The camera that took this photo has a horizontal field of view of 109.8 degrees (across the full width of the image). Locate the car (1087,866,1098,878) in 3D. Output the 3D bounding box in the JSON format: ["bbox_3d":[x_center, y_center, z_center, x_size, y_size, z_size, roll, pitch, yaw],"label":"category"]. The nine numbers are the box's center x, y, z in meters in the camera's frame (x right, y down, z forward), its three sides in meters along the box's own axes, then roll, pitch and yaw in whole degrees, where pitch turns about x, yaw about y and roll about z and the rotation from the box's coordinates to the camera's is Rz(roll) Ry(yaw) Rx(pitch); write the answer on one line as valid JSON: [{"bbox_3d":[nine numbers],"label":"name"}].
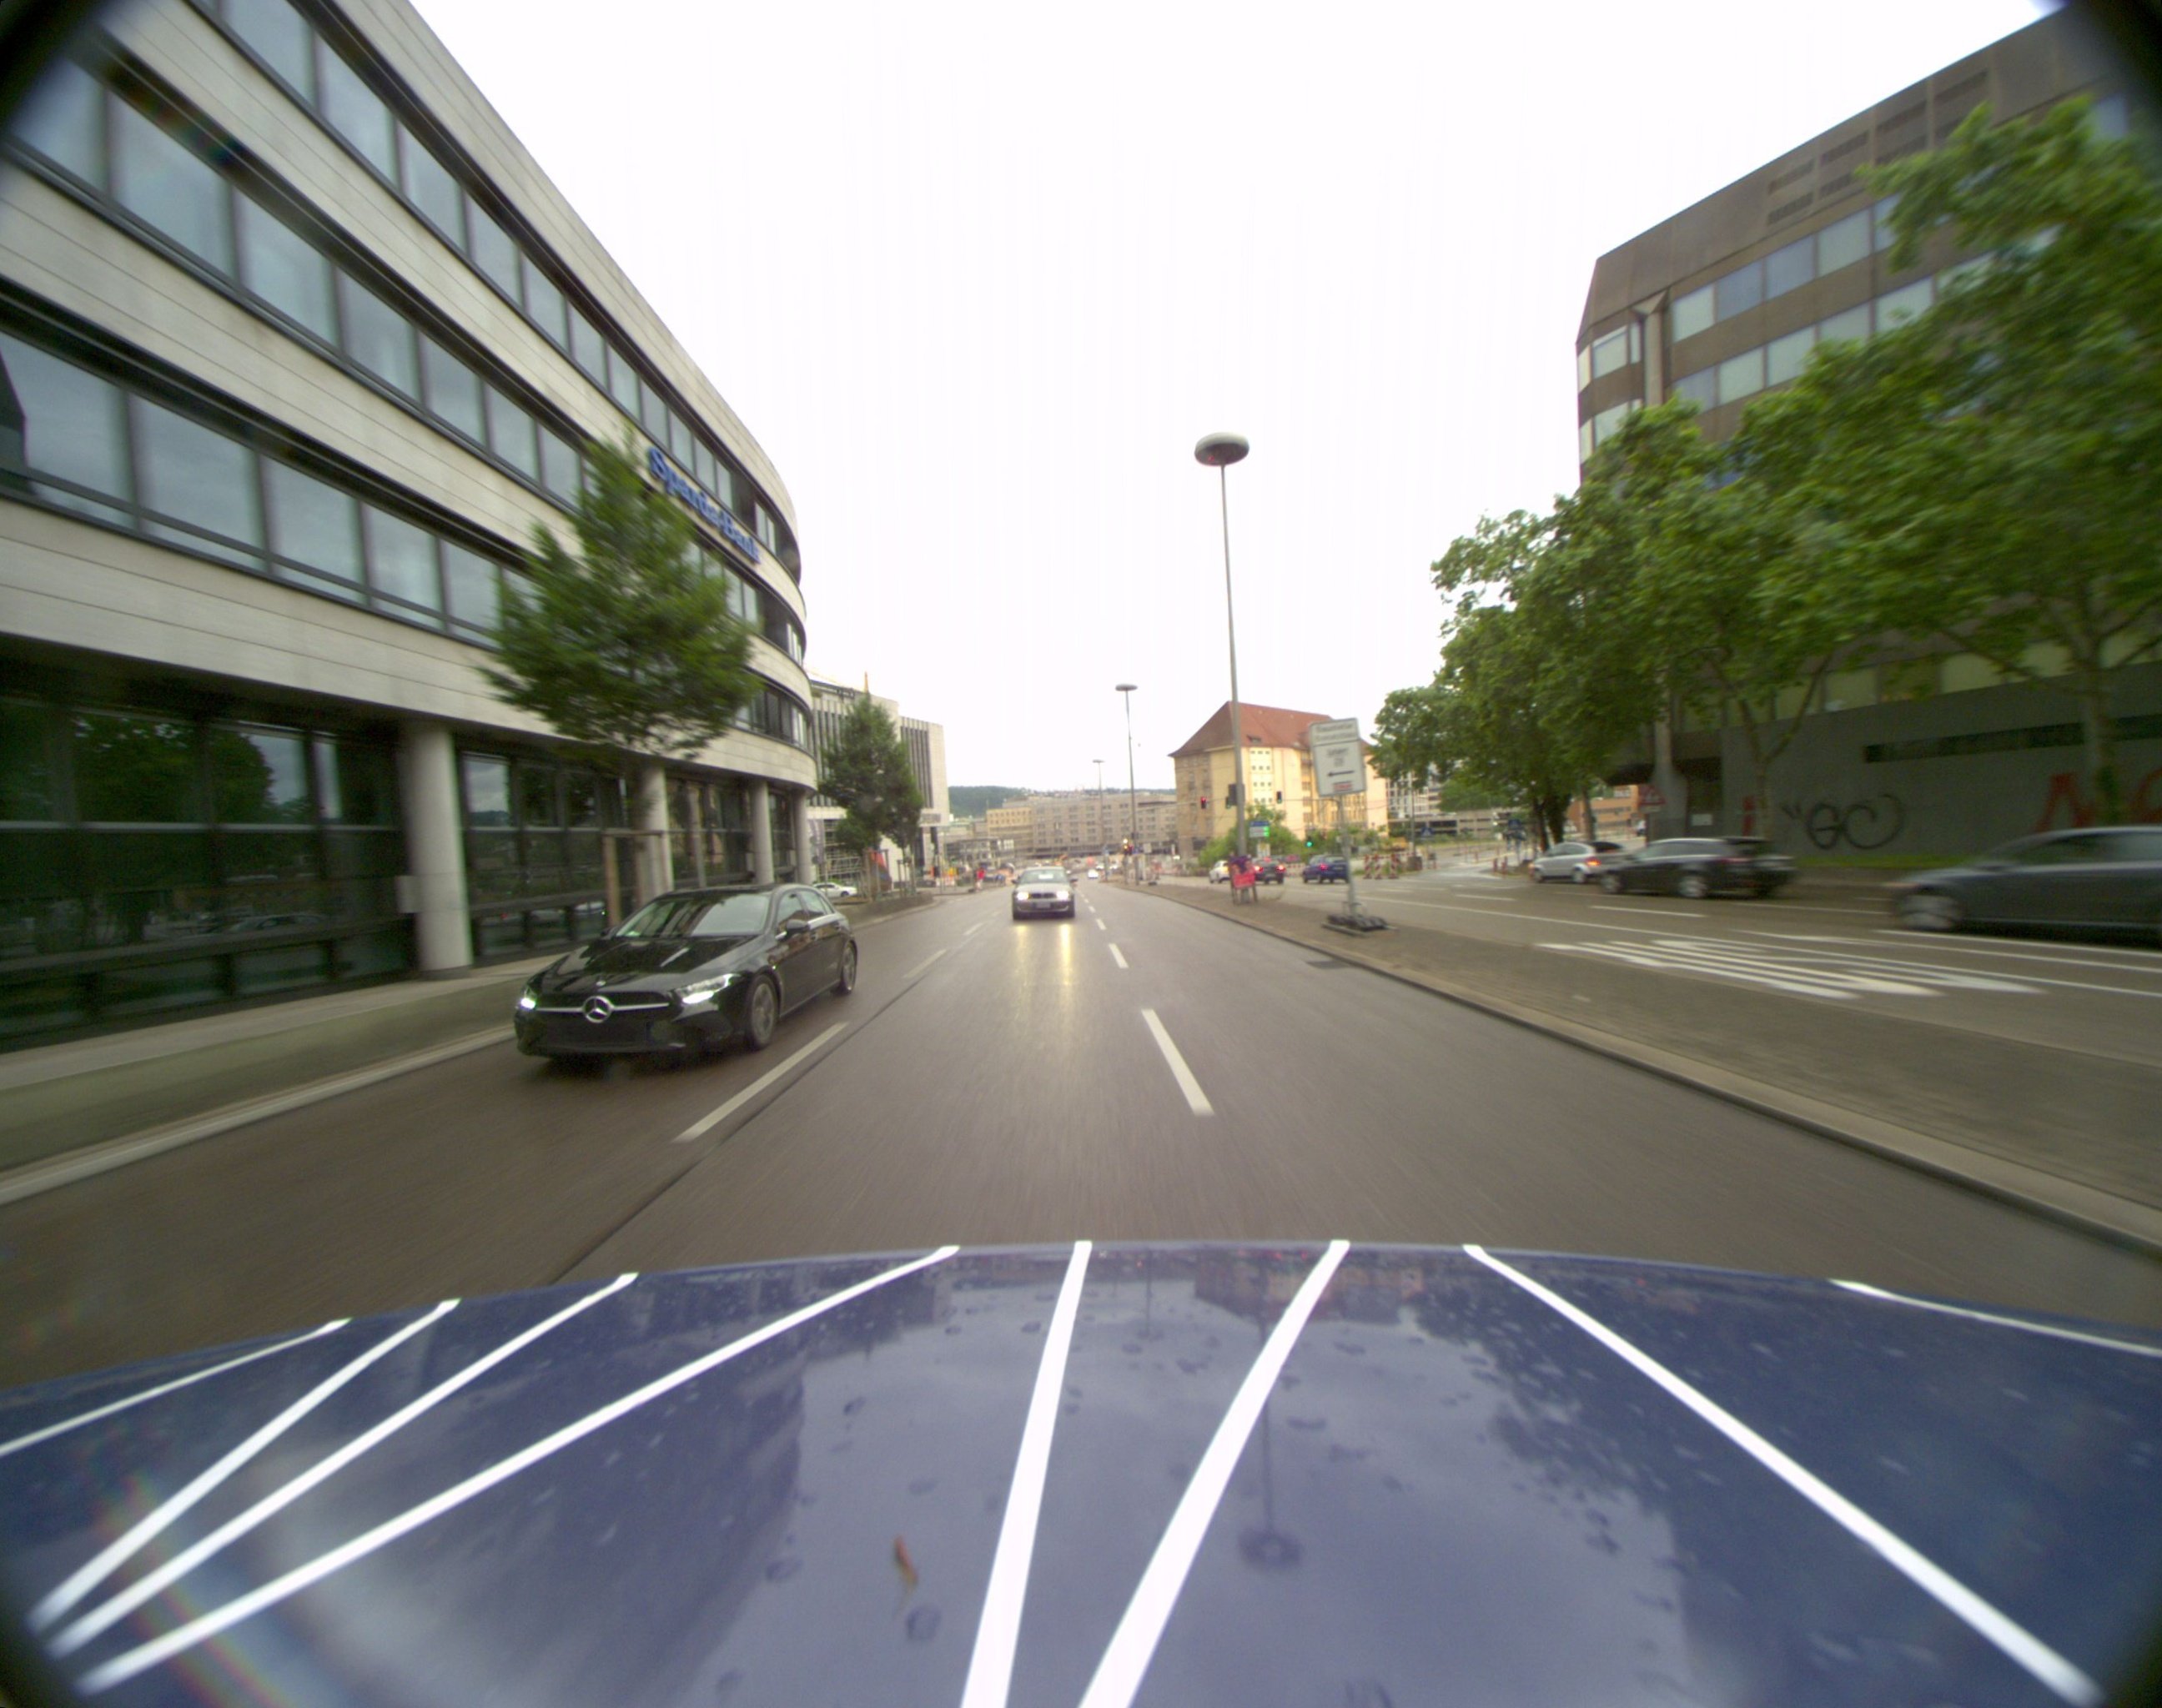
[{"bbox_3d":[2.179,3.322,142.990,1.998,2.002,4.000,-2,1,1],"label":"car"}]

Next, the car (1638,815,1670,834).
[{"bbox_3d":[64.974,-3.334,86.084,4.007,2.002,1.995,-3,1,-40],"label":"car"}]

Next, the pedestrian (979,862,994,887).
[{"bbox_3d":[-7.580,1.657,60.679,0.765,1.936,0.994,-2,1,18],"label":"pedestrian"}]

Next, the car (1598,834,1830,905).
[{"bbox_3d":[15.409,0.337,18.908,1.938,1.491,4.505,-2,0,-1],"label":"car"}]

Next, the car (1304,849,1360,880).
[{"bbox_3d":[13.100,0.558,39.849,1.798,1.477,3.438,-2,-1,1],"label":"car"}]

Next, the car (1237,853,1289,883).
[{"bbox_3d":[9.843,0.718,41.408,1.799,1.477,3.863,-2,0,-1],"label":"car"}]

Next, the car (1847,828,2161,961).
[{"bbox_3d":[12.687,0.420,9.337,1.938,1.428,4.505,-2,0,-1],"label":"car"}]

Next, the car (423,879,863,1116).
[{"bbox_3d":[-3.656,1.068,7.414,1.877,1.428,4.204,-3,0,-2],"label":"car"}]

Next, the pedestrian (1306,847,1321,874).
[{"bbox_3d":[17.814,0.480,58.241,0.812,2.002,0.662,-3,1,-32],"label":"pedestrian"}]

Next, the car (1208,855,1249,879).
[{"bbox_3d":[9.573,0.820,49.622,1.799,1.477,3.863,-3,0,-1],"label":"car"}]

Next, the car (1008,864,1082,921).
[{"bbox_3d":[-0.942,1.036,22.101,1.863,1.428,4.205,-1,0,1],"label":"car"}]

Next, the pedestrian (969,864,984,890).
[{"bbox_3d":[-8.196,1.815,59.451,0.992,1.936,0.766,-2,1,1],"label":"pedestrian"}]

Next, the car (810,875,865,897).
[{"bbox_3d":[-20.618,2.682,64.386,3.998,1.610,1.843,-2,1,-2],"label":"car"}]

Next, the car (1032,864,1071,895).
[{"bbox_3d":[-1.482,1.260,39.053,1.863,1.449,4.205,-1,0,-1],"label":"car"}]

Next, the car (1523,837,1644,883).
[{"bbox_3d":[18.207,0.229,27.735,1.799,1.477,3.764,-2,-1,-2],"label":"car"}]
